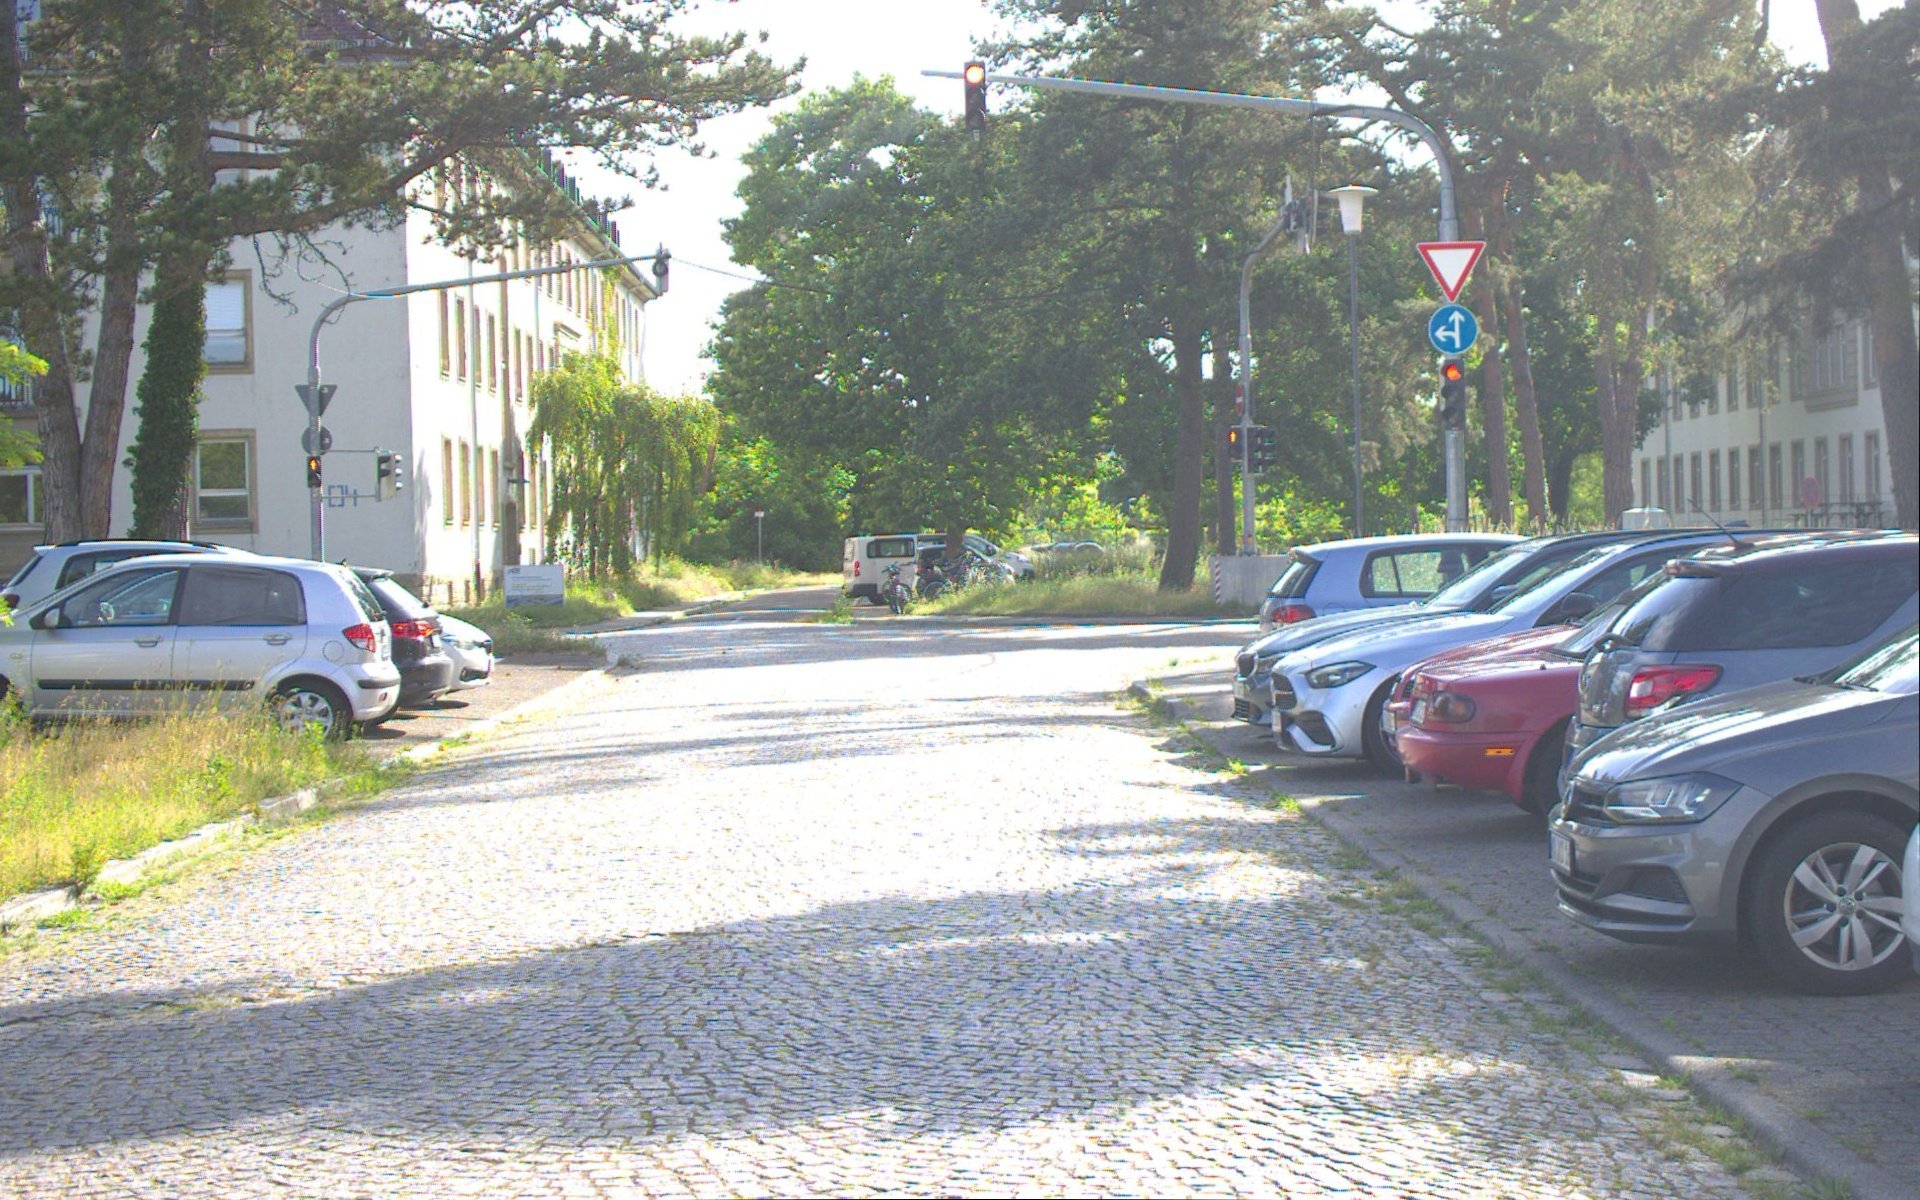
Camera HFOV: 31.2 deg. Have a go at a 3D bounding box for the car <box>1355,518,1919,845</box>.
[{"bbox_3d":[3.885,0.371,17.537,3.478,1.524,1.646,-1,1,-2],"label":"car"}]

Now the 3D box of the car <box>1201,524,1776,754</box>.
[{"bbox_3d":[3.758,0.254,24.847,3.835,1.524,1.646,-1,1,-2],"label":"car"}]

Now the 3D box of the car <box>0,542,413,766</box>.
[{"bbox_3d":[-6.364,0.399,26.630,3.986,1.595,2.000,-1,1,-3],"label":"car"}]

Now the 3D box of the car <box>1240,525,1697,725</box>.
[{"bbox_3d":[4.013,0.174,27.489,3.343,1.477,1.646,-1,1,-2],"label":"car"}]

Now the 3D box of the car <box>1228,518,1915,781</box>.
[{"bbox_3d":[3.859,0.283,22.076,4.033,1.524,1.646,-1,1,-4],"label":"car"}]

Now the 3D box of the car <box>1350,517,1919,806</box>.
[{"bbox_3d":[4.187,0.319,19.896,3.602,1.524,1.646,-1,1,-2],"label":"car"}]

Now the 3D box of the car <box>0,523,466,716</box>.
[{"bbox_3d":[-6.745,0.159,32.014,3.987,1.596,2.000,2,1,-1],"label":"car"}]

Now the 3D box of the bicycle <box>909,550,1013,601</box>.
[{"bbox_3d":[0.018,-0.547,76.451,2.172,1.096,0.807,-1,1,-10],"label":"bicycle"}]

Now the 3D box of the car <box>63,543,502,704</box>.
[{"bbox_3d":[-6.716,0.213,34.417,3.987,1.448,2.000,2,1,-1],"label":"car"}]

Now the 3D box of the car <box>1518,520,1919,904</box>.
[{"bbox_3d":[4.315,0.416,14.848,3.478,1.524,1.646,-1,1,-2],"label":"car"}]

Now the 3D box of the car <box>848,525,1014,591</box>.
[{"bbox_3d":[-0.803,-1.157,93.910,4.480,1.722,2.000,-1,1,-1],"label":"car"}]

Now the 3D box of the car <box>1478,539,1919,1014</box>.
[{"bbox_3d":[3.800,0.515,11.926,3.675,1.462,1.646,-2,1,-2],"label":"car"}]

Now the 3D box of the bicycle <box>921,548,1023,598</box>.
[{"bbox_3d":[0.268,-0.621,77.589,2.172,1.096,0.807,-1,1,-10],"label":"bicycle"}]

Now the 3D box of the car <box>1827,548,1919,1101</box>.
[{"bbox_3d":[4.368,0.511,9.042,3.694,1.460,1.645,-3,1,0],"label":"car"}]

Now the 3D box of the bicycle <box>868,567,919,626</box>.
[{"bbox_3d":[-1.416,-0.086,72.984,0.804,1.165,2.181,-3,1,-7],"label":"bicycle"}]
